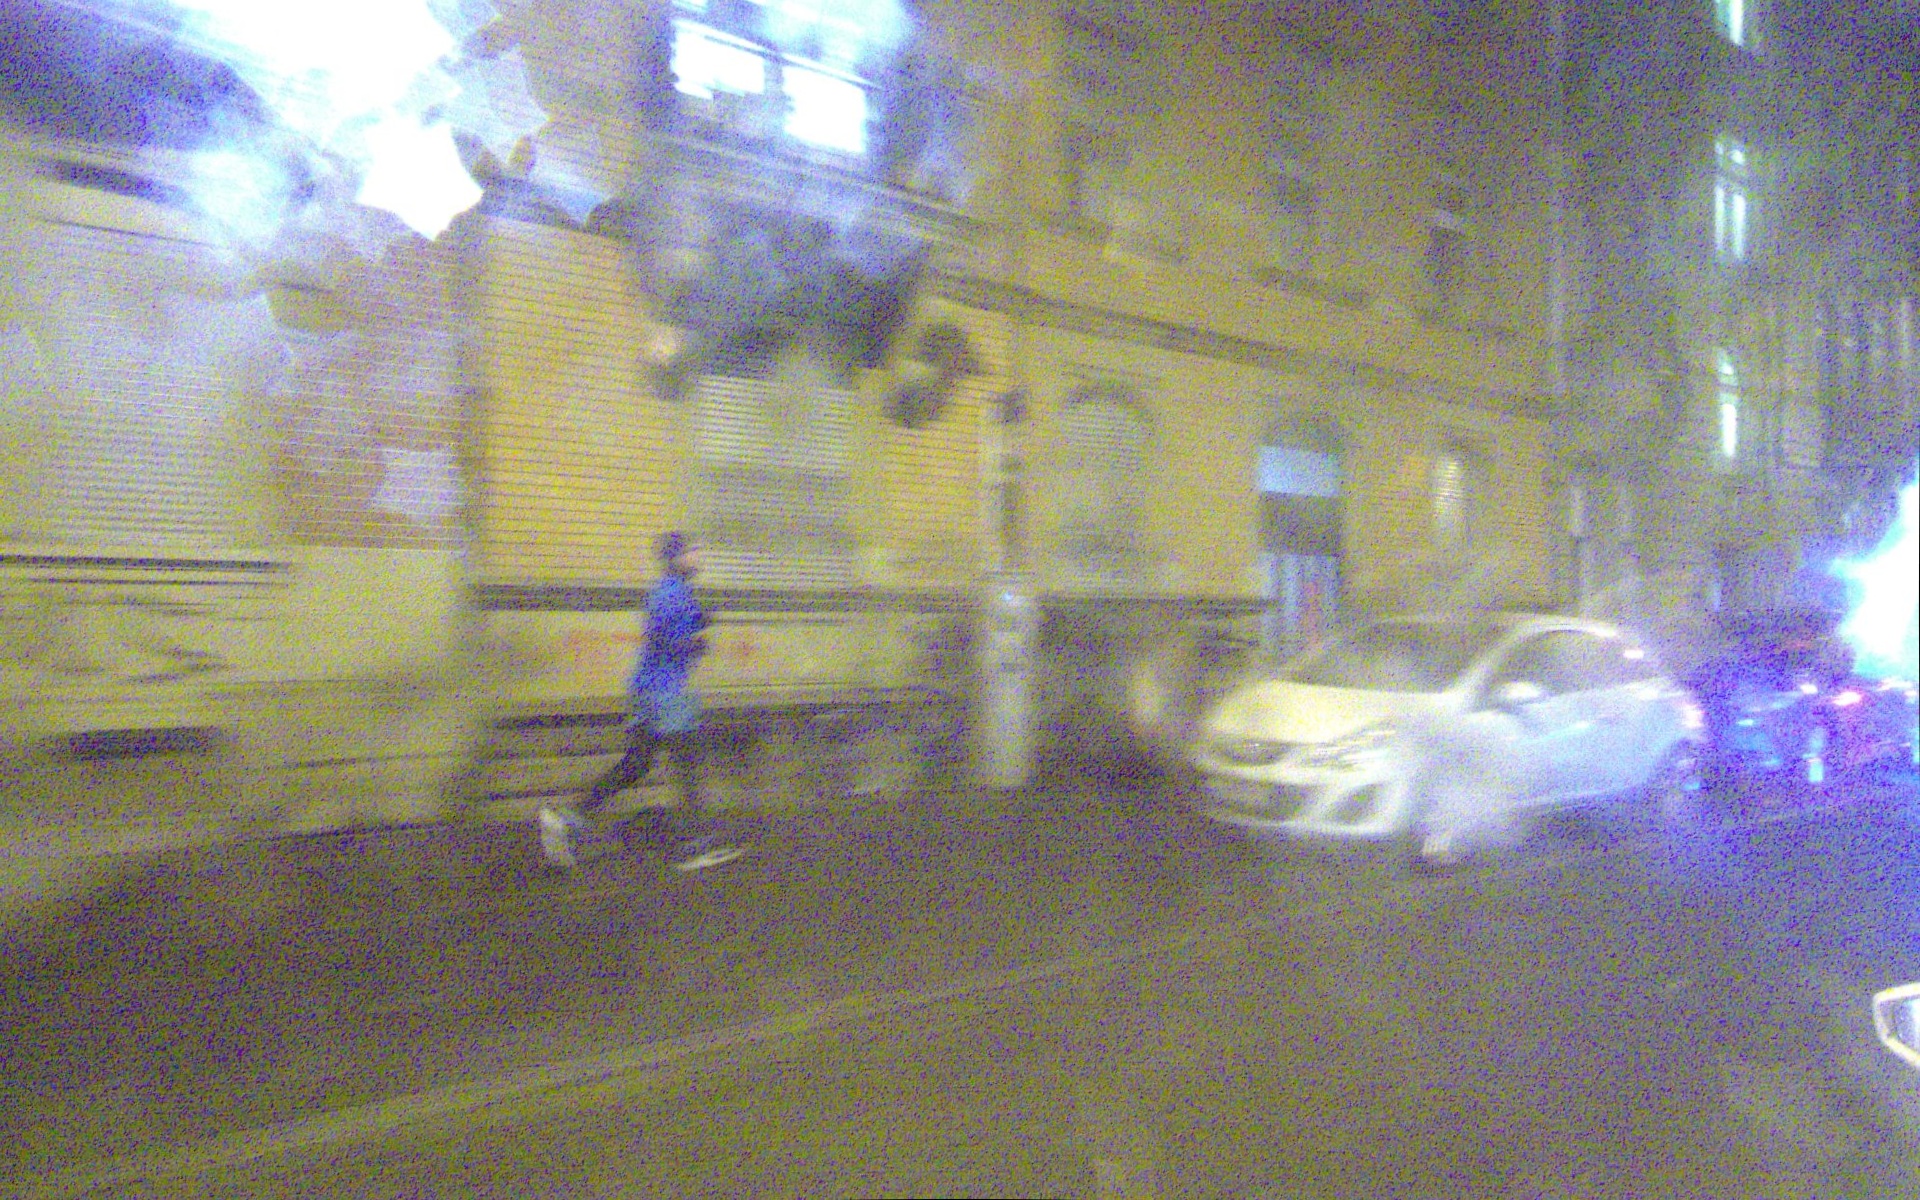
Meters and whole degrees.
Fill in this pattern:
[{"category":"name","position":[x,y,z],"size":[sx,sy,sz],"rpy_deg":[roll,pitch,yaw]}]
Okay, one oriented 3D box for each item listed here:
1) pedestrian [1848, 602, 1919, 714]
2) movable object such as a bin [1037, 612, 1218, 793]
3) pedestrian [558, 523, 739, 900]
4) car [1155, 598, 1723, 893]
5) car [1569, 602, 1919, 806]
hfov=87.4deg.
[{"category":"pedestrian","position":[14.734,0.907,16.026],"size":[0.533,1.726,0.698],"rpy_deg":[1,0,-30]},{"category":"movable object such as a bin","position":[1.437,0.831,8.748],"size":[1.143,1.417,1.043],"rpy_deg":[1,1,-28]},{"category":"pedestrian","position":[-1.669,0.546,5.356],"size":[0.785,1.845,0.588],"rpy_deg":[1,2,-30]},{"category":"car","position":[3.278,0.767,6.735],"size":[3.747,1.502,1.580],"rpy_deg":[1,0,-29]},{"category":"car","position":[7.677,0.834,9.605],"size":[4.034,1.578,1.645],"rpy_deg":[1,0,-34]}]
